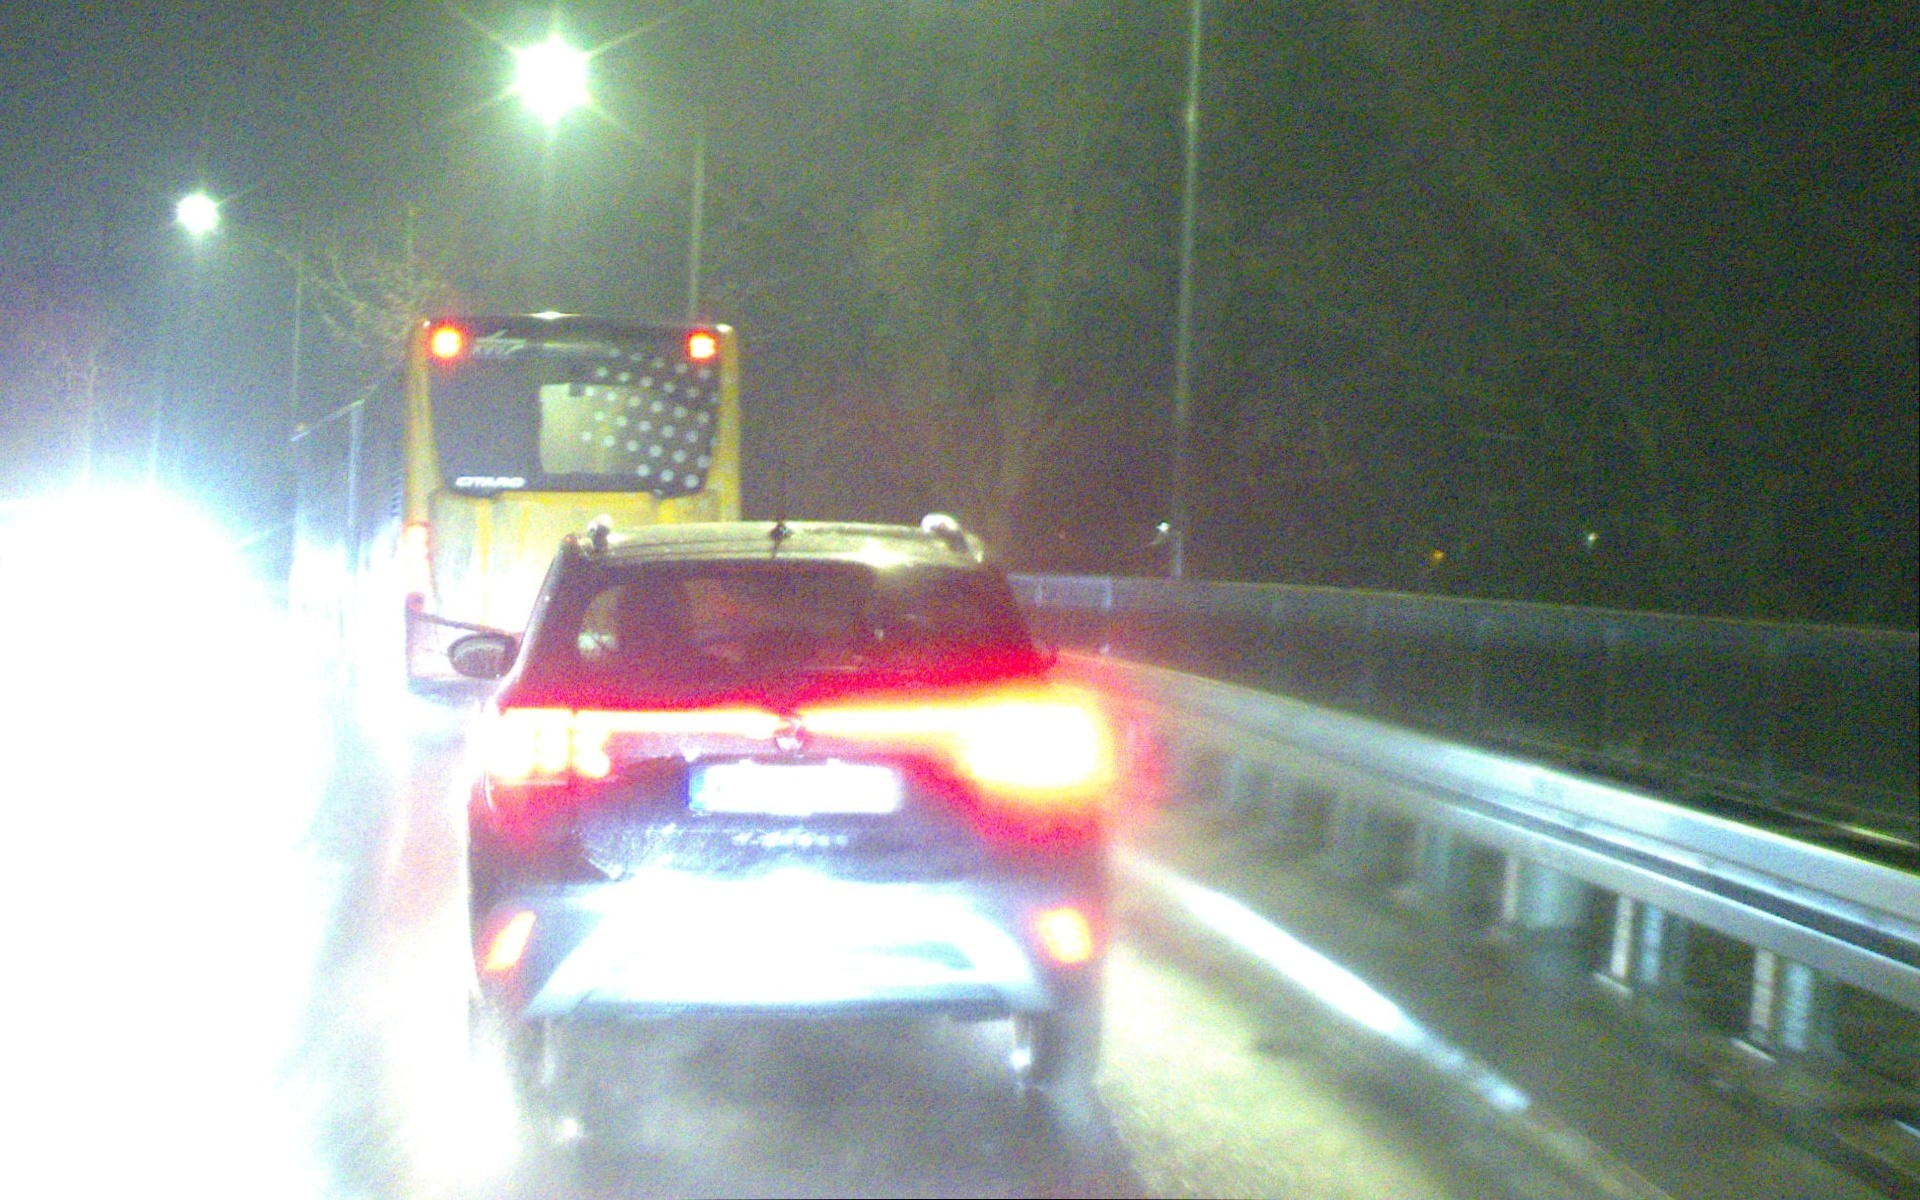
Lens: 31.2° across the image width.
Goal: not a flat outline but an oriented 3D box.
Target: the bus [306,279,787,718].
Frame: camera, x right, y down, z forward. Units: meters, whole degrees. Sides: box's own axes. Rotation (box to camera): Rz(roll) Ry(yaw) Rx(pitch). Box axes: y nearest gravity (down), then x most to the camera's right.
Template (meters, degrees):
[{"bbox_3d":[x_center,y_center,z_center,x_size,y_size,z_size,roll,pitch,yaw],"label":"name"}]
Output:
[{"bbox_3d":[-4.139,-0.884,31.017,3.082,3.122,12.701,-1,1,-12],"label":"bus"}]

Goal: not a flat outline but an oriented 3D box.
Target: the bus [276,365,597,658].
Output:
[{"bbox_3d":[-6.429,-1.023,41.151,3.048,3.121,8.081,-1,1,-14],"label":"bus"}]

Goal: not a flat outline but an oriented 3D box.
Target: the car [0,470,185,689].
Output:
[{"bbox_3d":[-9.484,-0.241,36.763,2.043,2.162,5.156,-1,1,-16],"label":"car"}]

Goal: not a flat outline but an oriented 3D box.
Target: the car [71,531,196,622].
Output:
[{"bbox_3d":[-15.963,-0.447,66.278,1.636,1.650,3.710,-2,1,-24],"label":"car"}]

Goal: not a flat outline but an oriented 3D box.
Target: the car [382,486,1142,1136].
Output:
[{"bbox_3d":[-0.604,0.480,10.414,1.855,1.581,4.001,0,1,-4],"label":"car"}]

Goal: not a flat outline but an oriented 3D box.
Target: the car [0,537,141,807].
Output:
[{"bbox_3d":[-6.611,0.419,23.545,1.792,1.625,3.994,0,2,-11],"label":"car"}]
